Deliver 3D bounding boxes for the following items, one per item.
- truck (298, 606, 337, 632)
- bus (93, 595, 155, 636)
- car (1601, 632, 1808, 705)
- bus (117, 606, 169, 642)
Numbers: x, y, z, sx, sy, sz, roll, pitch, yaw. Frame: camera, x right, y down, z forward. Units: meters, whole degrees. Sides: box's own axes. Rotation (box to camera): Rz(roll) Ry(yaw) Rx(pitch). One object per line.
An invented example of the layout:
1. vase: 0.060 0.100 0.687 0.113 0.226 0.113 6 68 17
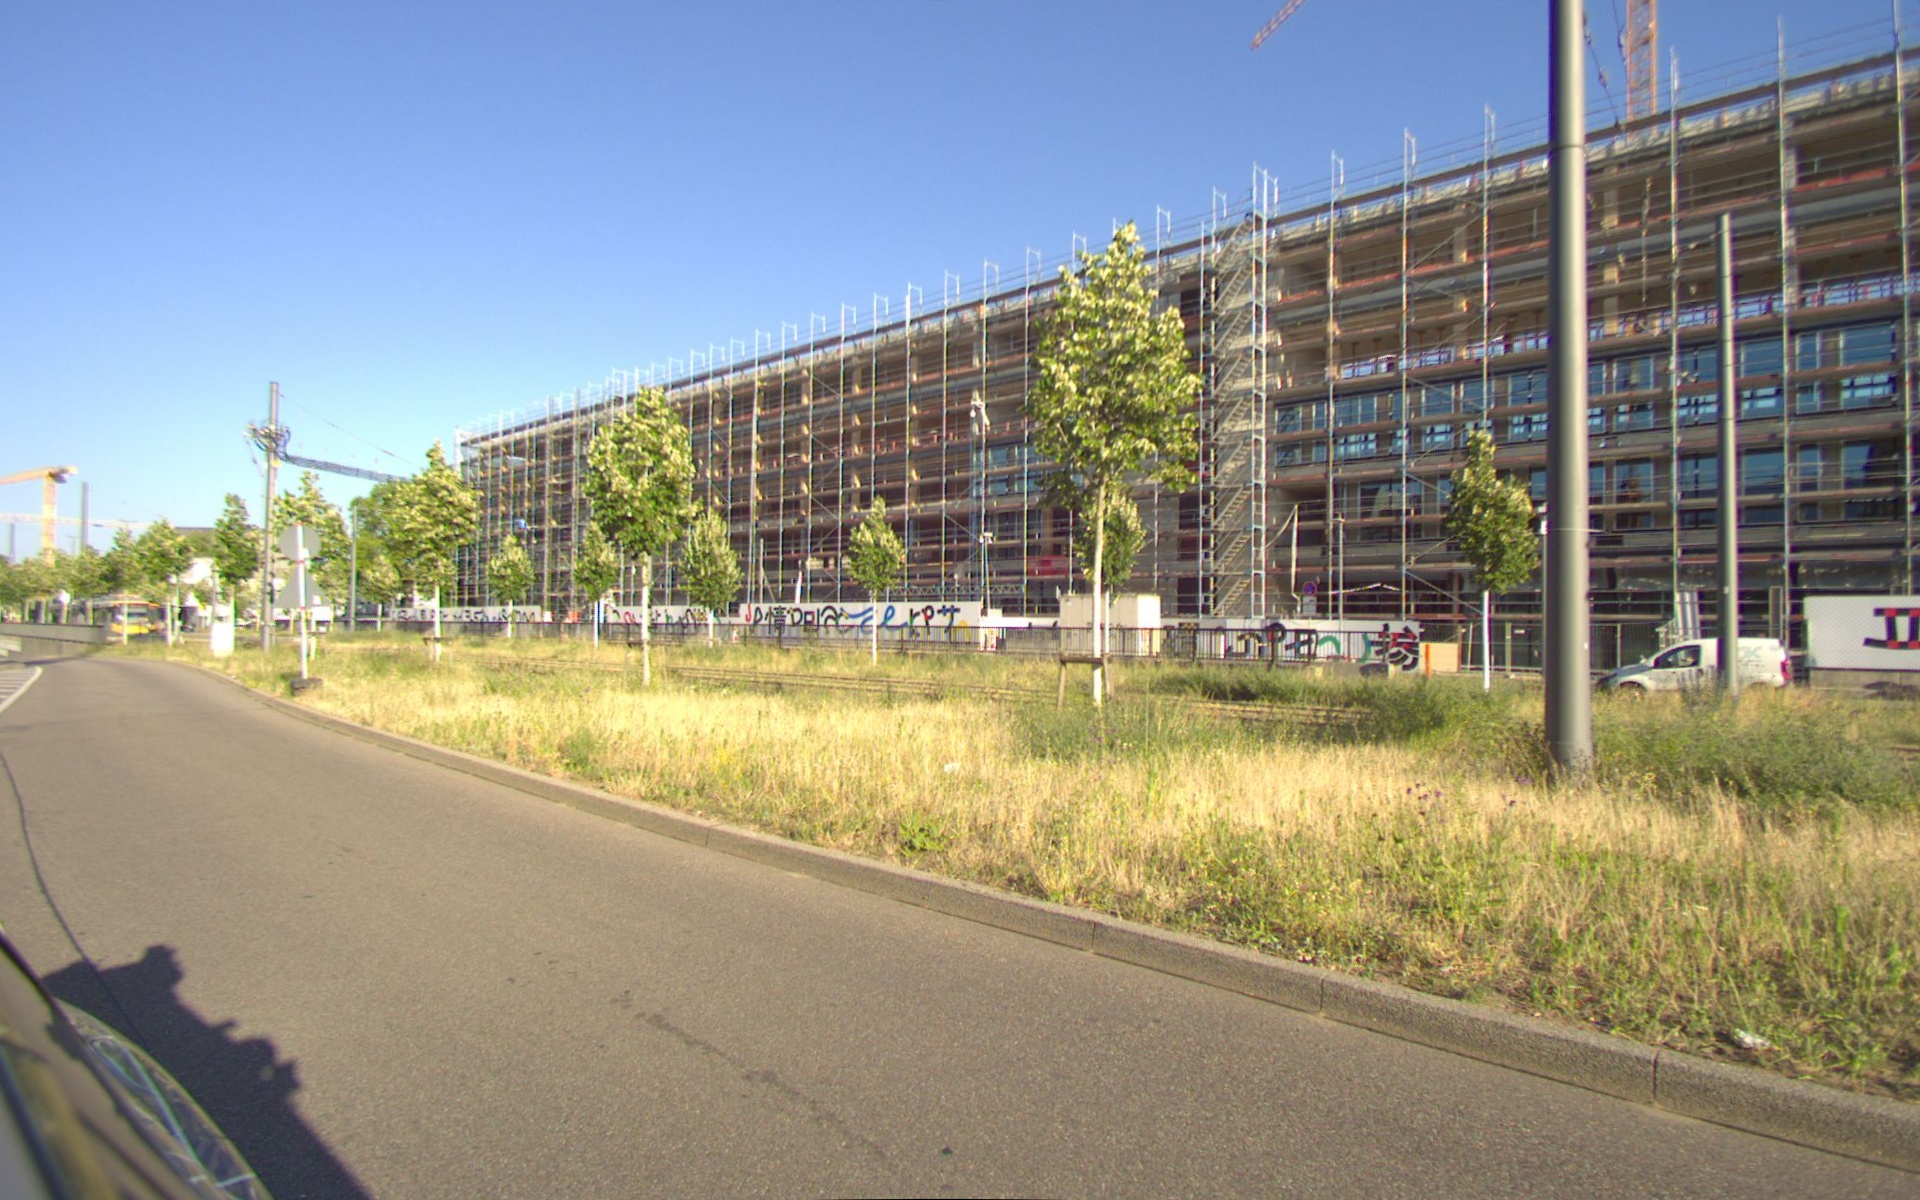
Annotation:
1. truck: -63.692 1.899 100.243 4.740 2.593 2.114 -1 -2 43
2. bus: -68.800 1.306 83.196 8.654 3.247 2.688 -1 -2 42
3. car: 17.633 1.562 24.075 3.840 1.570 1.587 -1 -2 42
4. bus: -78.016 2.296 96.584 8.656 3.247 2.687 -1 -2 43
